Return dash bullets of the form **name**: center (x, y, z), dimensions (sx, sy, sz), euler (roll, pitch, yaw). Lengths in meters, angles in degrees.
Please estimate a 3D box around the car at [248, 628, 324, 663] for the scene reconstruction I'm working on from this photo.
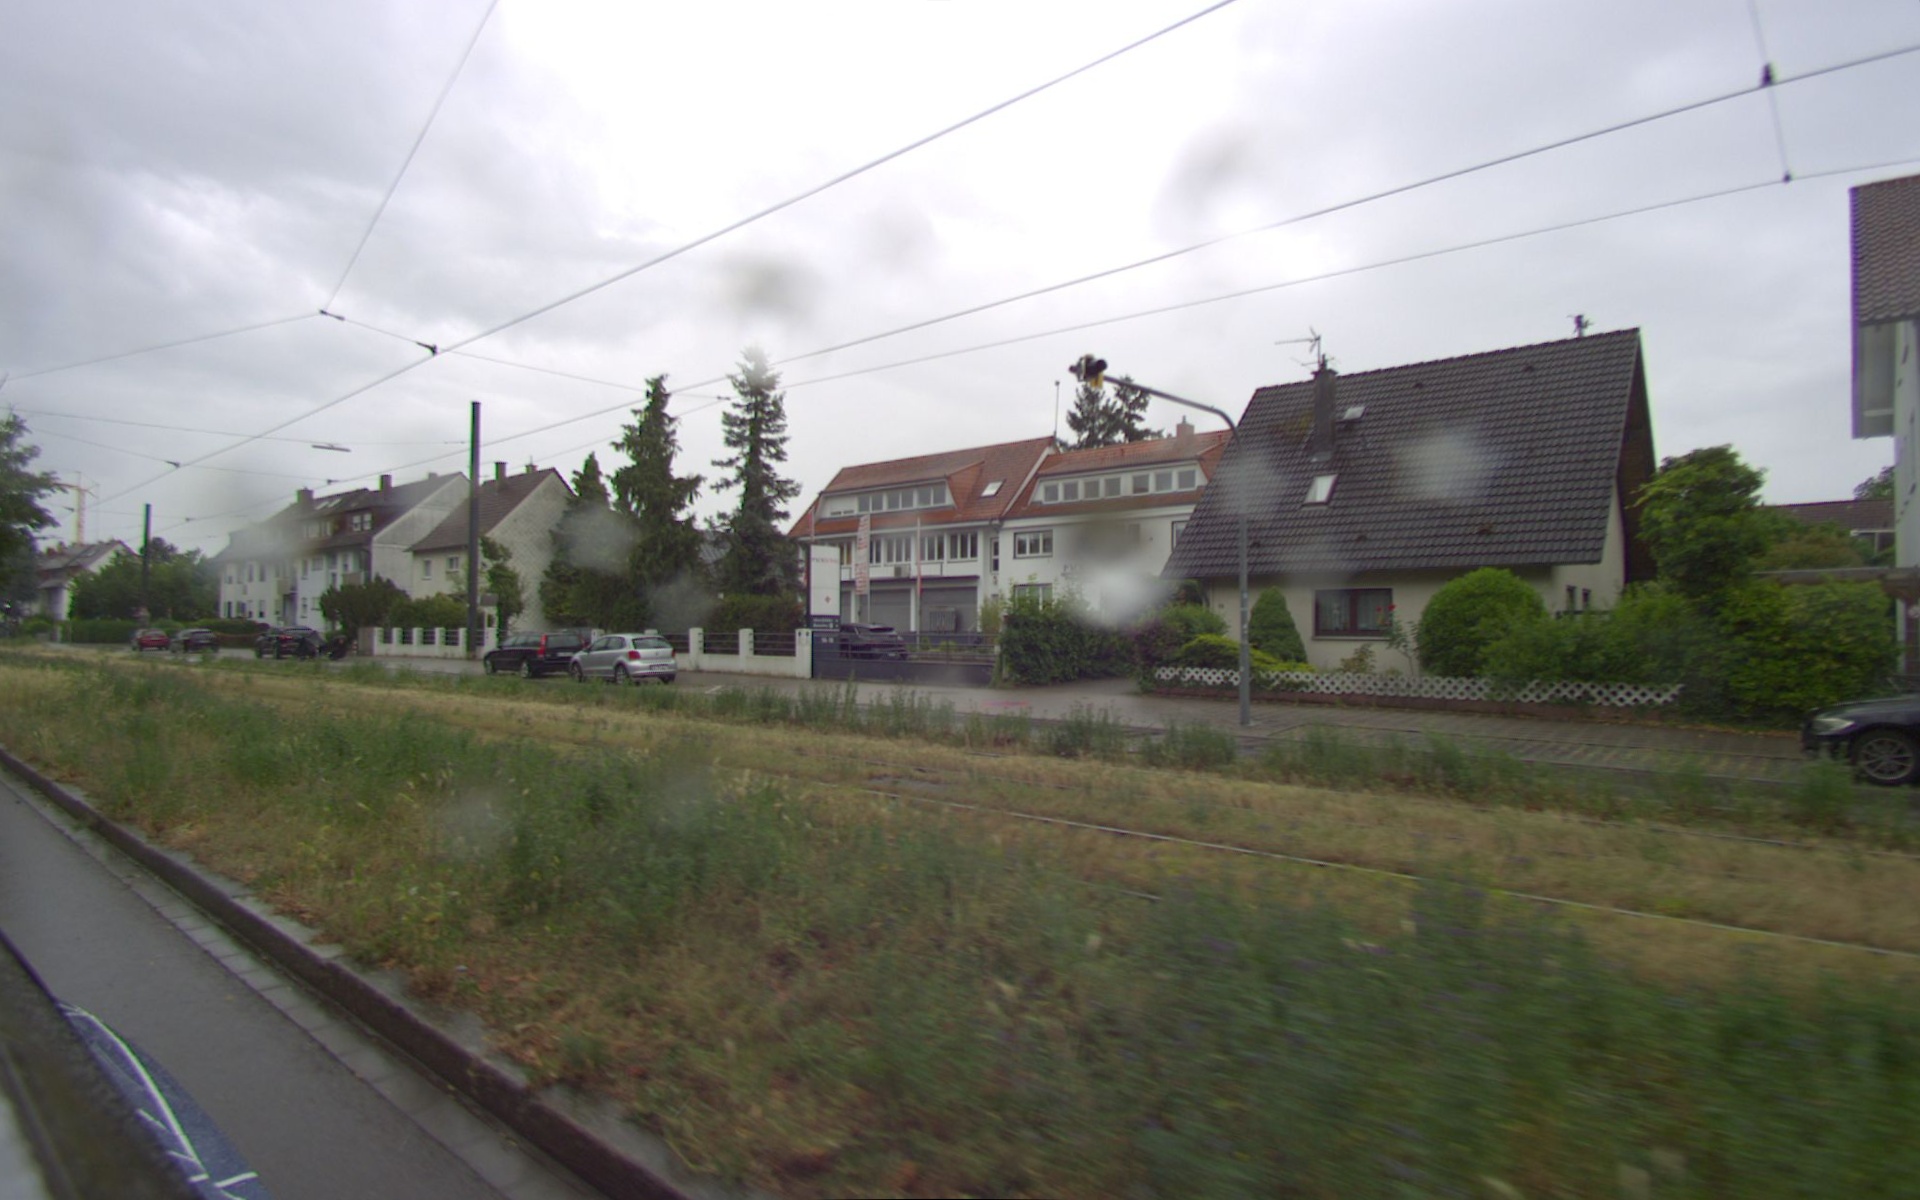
- **car**: center (-33.738, 2.254, 50.618), dimensions (4.383, 1.687, 1.974), euler (-1, -2, 39)

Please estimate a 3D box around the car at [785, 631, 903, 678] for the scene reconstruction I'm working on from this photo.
- **car**: center (-3.953, 1.810, 34.130), dimensions (3.969, 1.421, 1.681), euler (-2, -1, 41)

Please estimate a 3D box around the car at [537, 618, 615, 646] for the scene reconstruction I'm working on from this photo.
- **car**: center (-22.468, 1.850, 59.306), dimensions (1.703, 1.551, 3.918), euler (-2, -1, 40)

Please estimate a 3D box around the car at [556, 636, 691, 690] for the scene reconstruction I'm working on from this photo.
- **car**: center (-9.888, 1.802, 29.622), dimensions (3.969, 1.421, 1.973), euler (-2, -1, 41)

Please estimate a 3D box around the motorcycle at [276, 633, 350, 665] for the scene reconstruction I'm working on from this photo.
- **motorcycle**: center (-30.043, 2.268, 47.042), dimensions (2.645, 1.421, 1.269), euler (0, -1, -7)

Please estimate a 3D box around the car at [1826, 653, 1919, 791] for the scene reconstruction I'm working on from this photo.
- **car**: center (11.775, 1.285, 10.436), dimensions (4.239, 1.361, 1.972), euler (-2, -1, 43)

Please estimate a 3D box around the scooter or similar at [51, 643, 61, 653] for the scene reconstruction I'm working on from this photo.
- **scooter or similar**: center (-85.404, 4.558, 95.603), dimensions (1.256, 0.917, 0.343), euler (-2, -3, 35)

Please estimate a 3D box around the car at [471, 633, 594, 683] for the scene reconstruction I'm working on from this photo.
- **car**: center (-13.960, 1.838, 32.921), dimensions (4.530, 1.467, 1.972), euler (-2, -1, 43)

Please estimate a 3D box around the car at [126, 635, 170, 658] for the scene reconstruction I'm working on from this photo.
- **car**: center (-55.292, 3.163, 68.871), dimensions (3.999, 1.468, 1.778), euler (-2, -1, 43)

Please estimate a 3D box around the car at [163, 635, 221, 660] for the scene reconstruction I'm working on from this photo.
- **car**: center (-46.590, 2.854, 61.371), dimensions (4.761, 1.421, 1.972), euler (-2, -1, 43)
